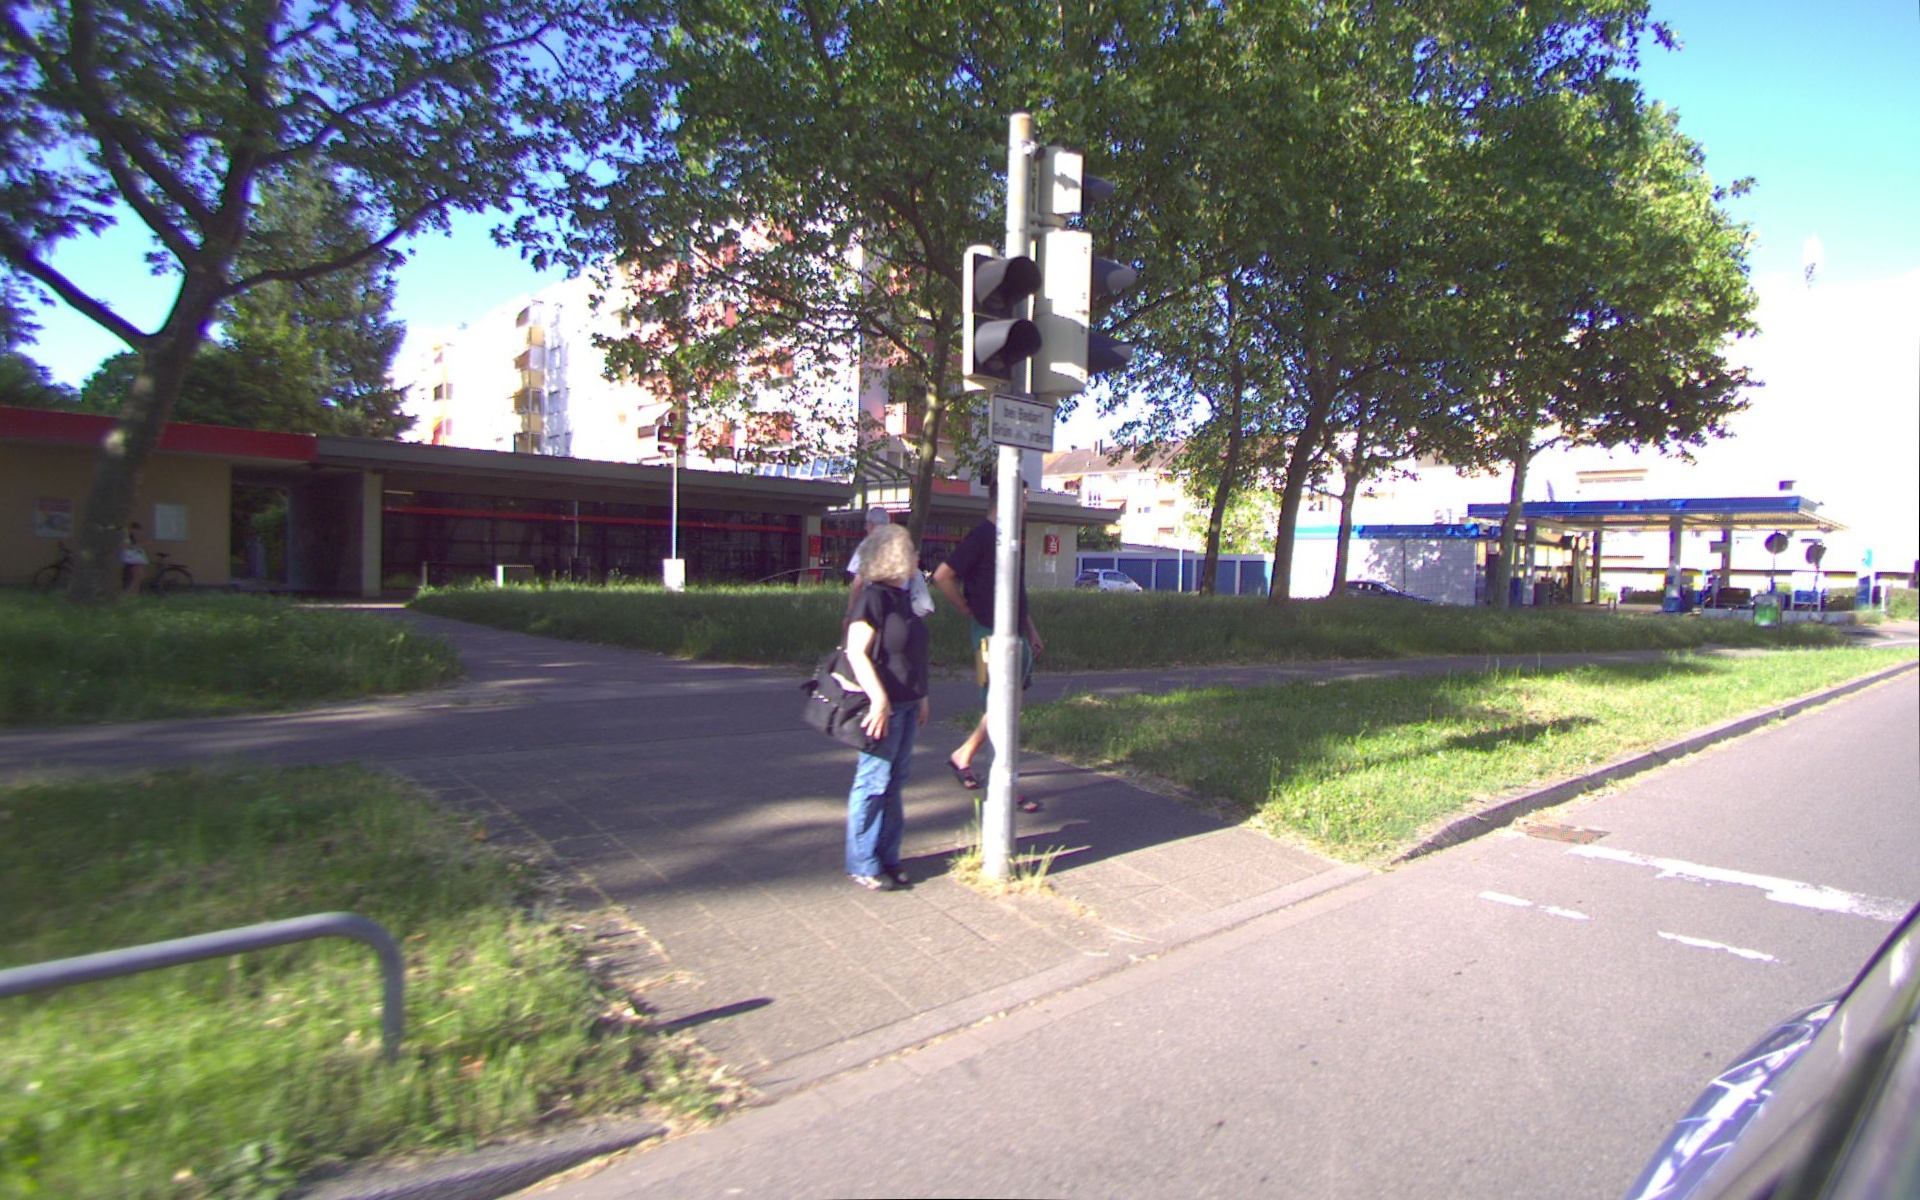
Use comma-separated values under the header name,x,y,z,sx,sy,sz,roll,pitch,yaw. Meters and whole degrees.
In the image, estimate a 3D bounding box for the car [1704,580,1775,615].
name,x,y,z,sx,sy,sz,roll,pitch,yaw
car,35.401,-0.141,45.914,3.934,1.481,1.724,0,3,-40

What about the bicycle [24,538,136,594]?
name,x,y,z,sx,sy,sz,roll,pitch,yaw
bicycle,-19.448,-0.745,22.390,1.812,1.194,0.600,0,1,-12

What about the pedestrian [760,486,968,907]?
name,x,y,z,sx,sy,sz,roll,pitch,yaw
pedestrian,-0.414,0.378,4.566,0.702,1.726,0.651,3,3,16

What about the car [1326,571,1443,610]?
name,x,y,z,sx,sy,sz,roll,pitch,yaw
car,18.146,-0.442,43.387,1.949,1.550,4.198,0,2,-41

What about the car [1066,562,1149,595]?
name,x,y,z,sx,sy,sz,roll,pitch,yaw
car,7.304,-1.064,49.842,4.043,1.522,1.873,-1,2,-42

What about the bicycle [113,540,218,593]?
name,x,y,z,sx,sy,sz,roll,pitch,yaw
bicycle,-18.431,-0.759,23.516,1.812,1.194,0.600,0,1,-19

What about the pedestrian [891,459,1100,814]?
name,x,y,z,sx,sy,sz,roll,pitch,yaw
pedestrian,0.203,0.184,6.033,0.911,1.908,0.800,0,2,-36

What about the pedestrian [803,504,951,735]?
name,x,y,z,sx,sy,sz,roll,pitch,yaw
pedestrian,-0.674,0.127,8.194,0.816,1.743,0.843,0,2,-44

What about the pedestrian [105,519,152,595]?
name,x,y,z,sx,sy,sz,roll,pitch,yaw
pedestrian,-18.023,-0.929,21.942,0.671,1.604,0.704,3,1,44
